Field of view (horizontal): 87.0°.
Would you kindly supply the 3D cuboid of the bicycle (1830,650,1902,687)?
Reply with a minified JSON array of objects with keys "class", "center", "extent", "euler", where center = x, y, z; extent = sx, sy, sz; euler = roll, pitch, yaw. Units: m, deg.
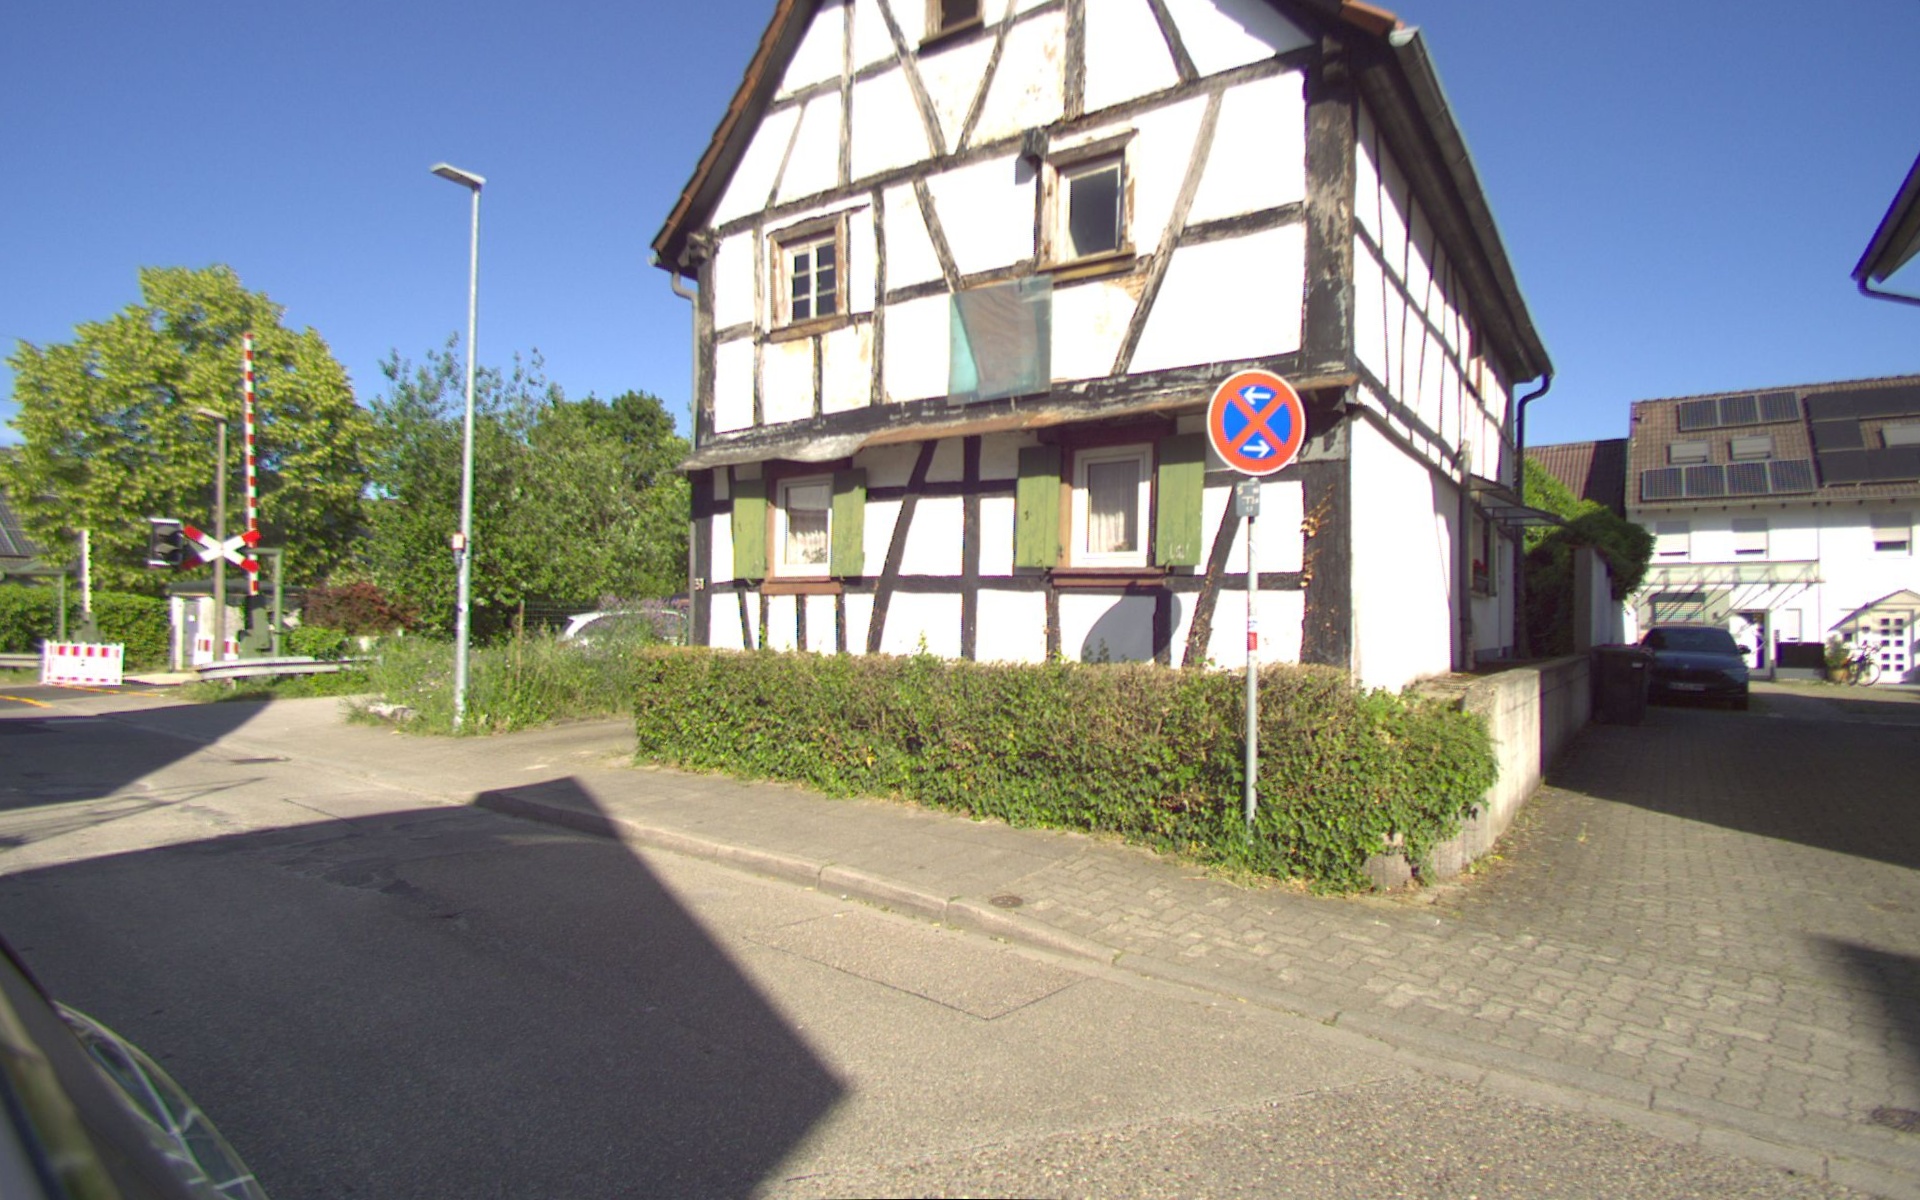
[{"class":"bicycle","center":[25.482,1.914,28.498],"extent":[0.482,0.896,1.740],"euler":[0,1,2]}]

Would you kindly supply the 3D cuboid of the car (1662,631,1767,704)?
[{"class":"car","center":[16.774,1.454,22.639],"extent":[1.726,1.453,3.952],"euler":[0,-2,35]}]

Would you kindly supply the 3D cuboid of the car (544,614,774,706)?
[{"class":"car","center":[-5.583,1.082,19.169],"extent":[3.938,1.576,1.691],"euler":[0,0,-6]}]

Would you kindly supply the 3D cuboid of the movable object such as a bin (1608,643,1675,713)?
[{"class":"movable object such as a bin","center":[11.075,1.242,16.443],"extent":[0.831,1.046,0.676],"euler":[1,0,41]}]

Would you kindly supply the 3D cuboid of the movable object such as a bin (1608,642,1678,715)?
[{"class":"movable object such as a bin","center":[10.694,1.207,15.854],"extent":[0.831,1.046,0.676],"euler":[1,0,41]}]

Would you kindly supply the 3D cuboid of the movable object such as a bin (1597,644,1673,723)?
[{"class":"movable object such as a bin","center":[9.767,1.192,14.647],"extent":[0.831,1.046,0.676],"euler":[1,0,41]}]

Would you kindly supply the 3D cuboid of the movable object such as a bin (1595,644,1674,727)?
[{"class":"movable object such as a bin","center":[9.324,1.164,13.988],"extent":[0.831,1.046,0.676],"euler":[1,0,41]}]

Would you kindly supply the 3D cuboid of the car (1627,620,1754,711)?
[{"class":"car","center":[13.374,1.146,18.623],"extent":[1.727,1.453,3.952],"euler":[0,-2,35]}]
